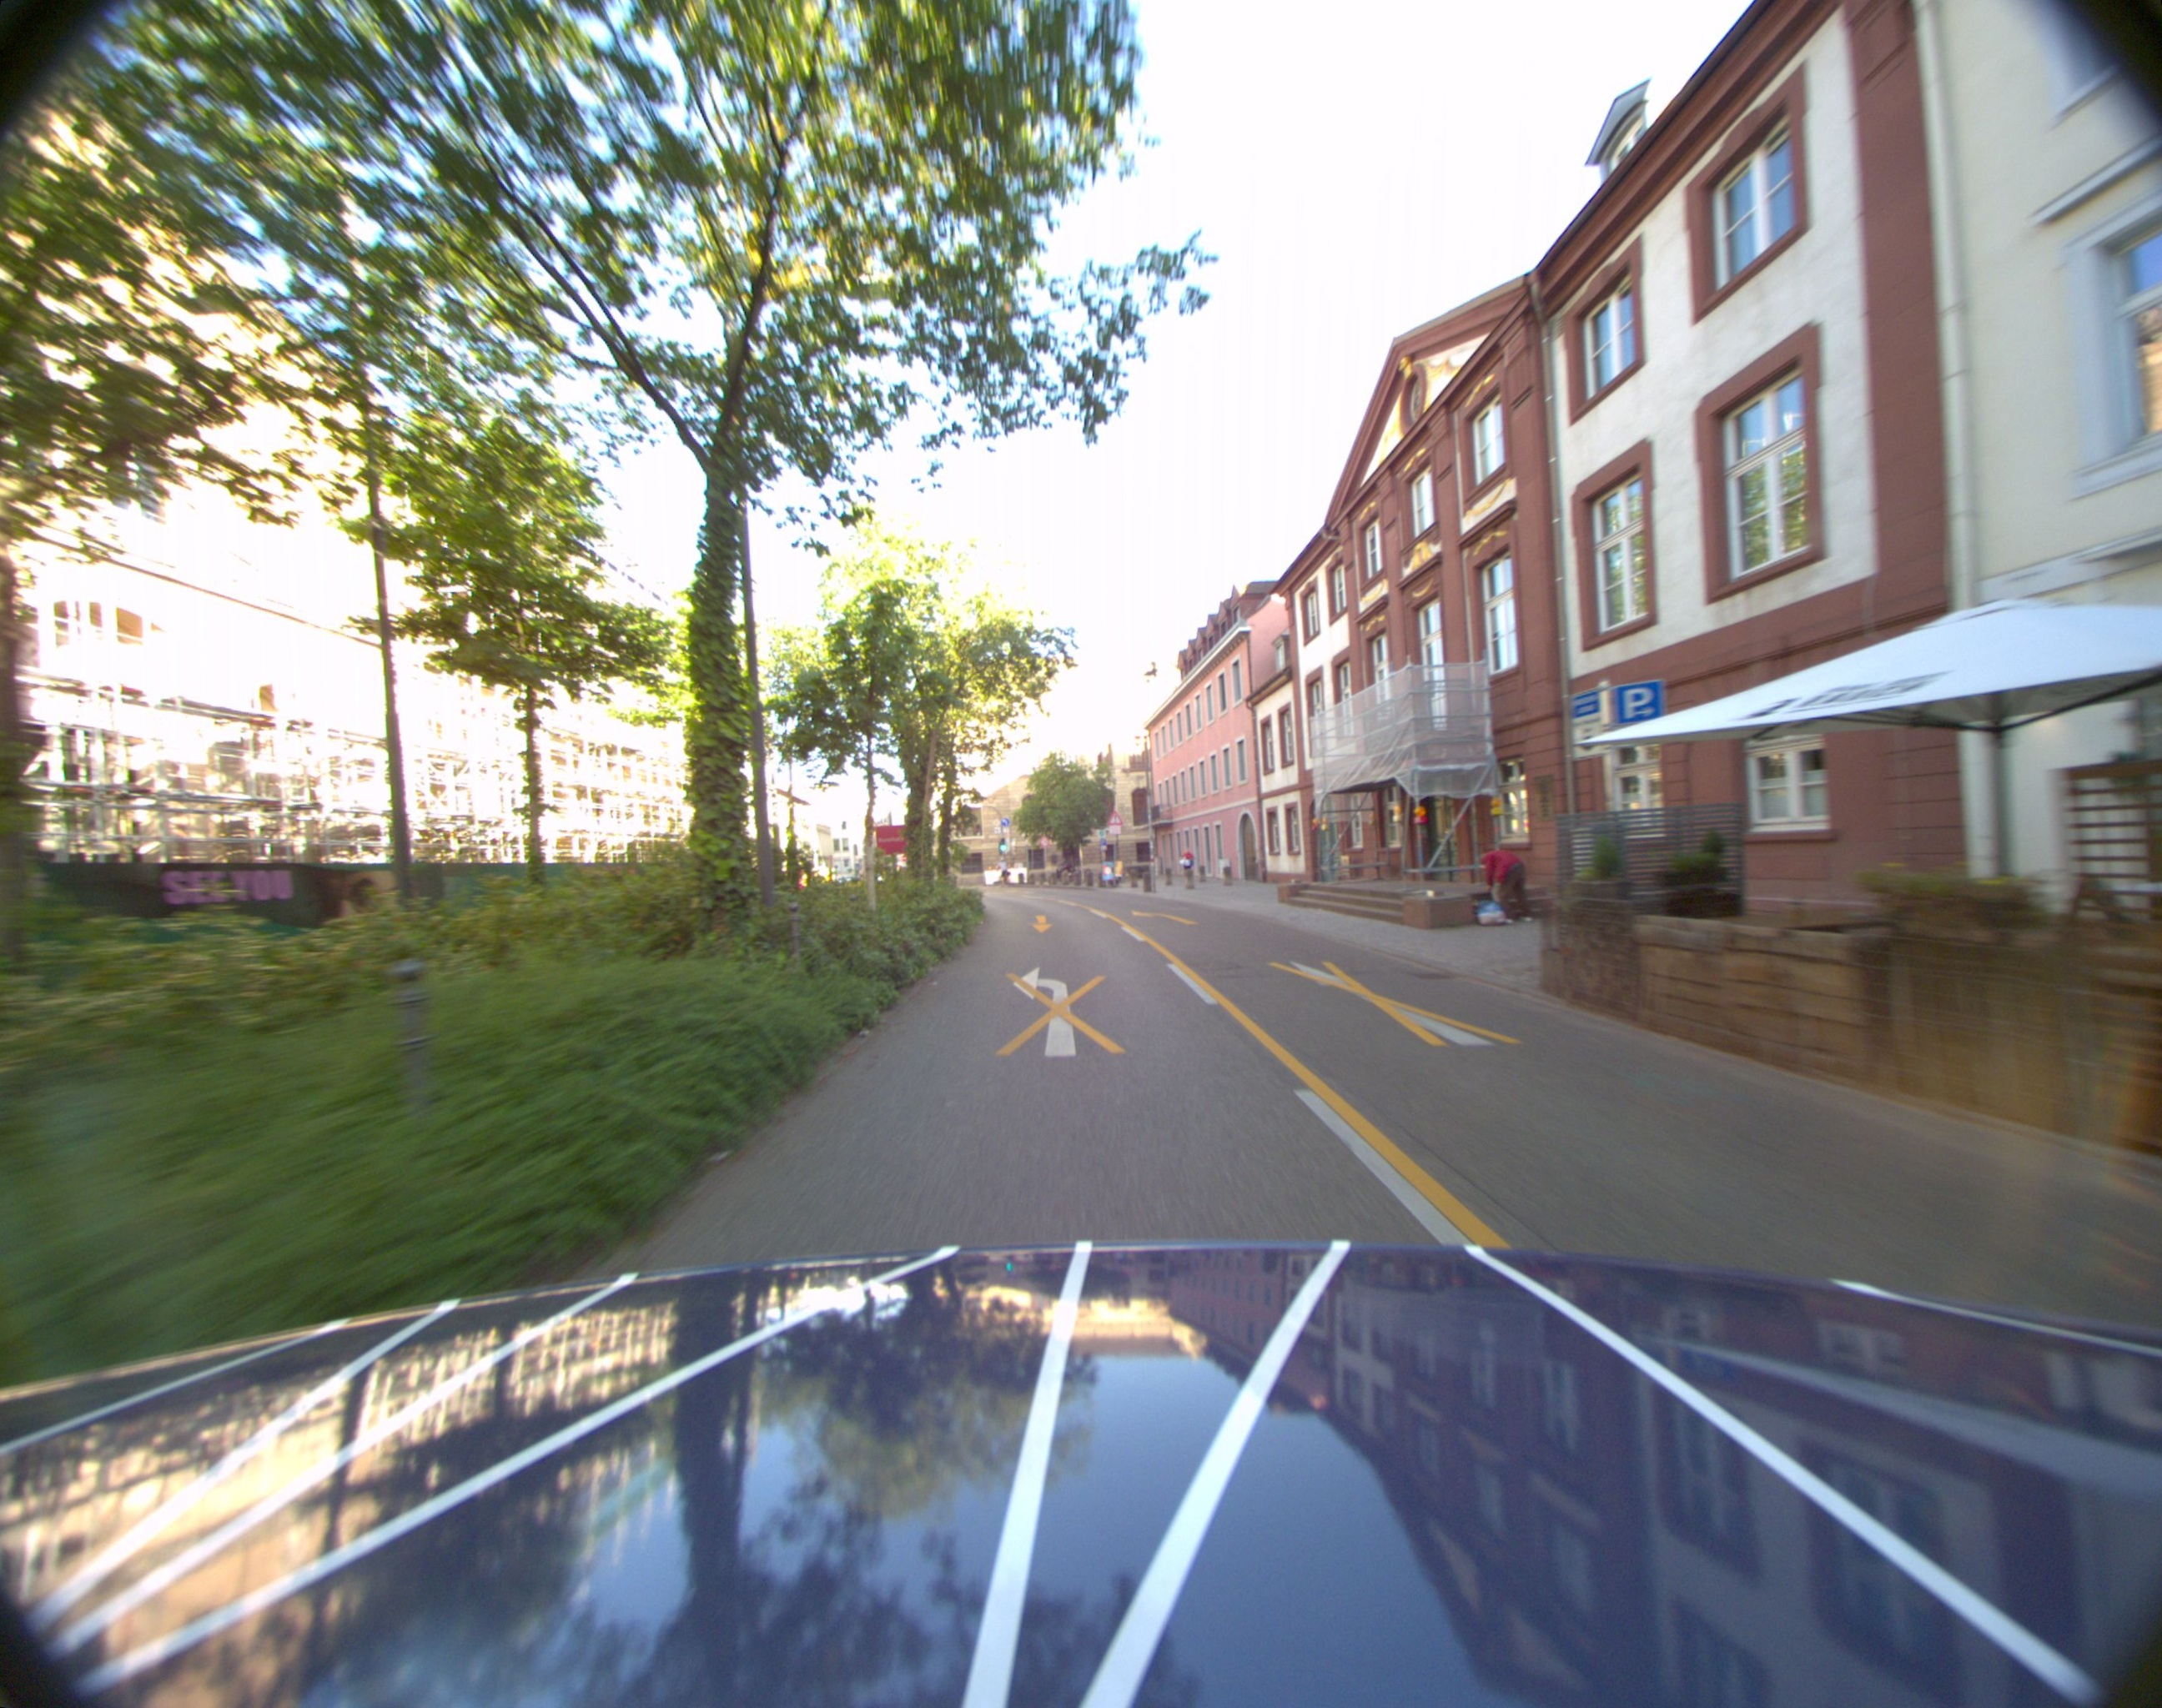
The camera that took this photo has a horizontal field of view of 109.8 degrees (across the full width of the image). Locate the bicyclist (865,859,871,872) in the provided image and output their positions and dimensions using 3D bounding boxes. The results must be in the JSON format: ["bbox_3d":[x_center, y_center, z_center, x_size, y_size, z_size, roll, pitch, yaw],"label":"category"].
[{"bbox_3d":[-21.770,1.193,77.704,0.538,1.281,0.551,-4,1,-13],"label":"bicyclist"}]

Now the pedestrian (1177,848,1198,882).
[{"bbox_3d":[5.546,0.561,39.463,0.793,1.679,0.868,-5,1,-5],"label":"pedestrian"}]

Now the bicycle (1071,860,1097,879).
[{"bbox_3d":[0.203,1.059,52.058,0.681,1.199,2.009,-1,0,39],"label":"bicycle"}]

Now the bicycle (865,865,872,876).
[{"bbox_3d":[-21.734,1.700,77.705,0.535,1.060,1.424,-4,0,-12],"label":"bicycle"}]

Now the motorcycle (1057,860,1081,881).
[{"bbox_3d":[-0.807,1.081,49.851,0.815,1.309,2.334,-3,0,-18],"label":"motorcycle"}]

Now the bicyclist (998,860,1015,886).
[{"bbox_3d":[-4.752,1.231,48.232,0.747,1.574,0.793,-4,1,-26],"label":"bicyclist"}]

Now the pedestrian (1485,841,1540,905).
[{"bbox_3d":[7.396,0.318,13.042,0.538,1.047,0.551,-4,1,-6],"label":"pedestrian"}]

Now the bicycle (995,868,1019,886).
[{"bbox_3d":[-4.727,1.474,48.238,0.775,1.056,2.074,-3,0,-26],"label":"bicycle"}]
